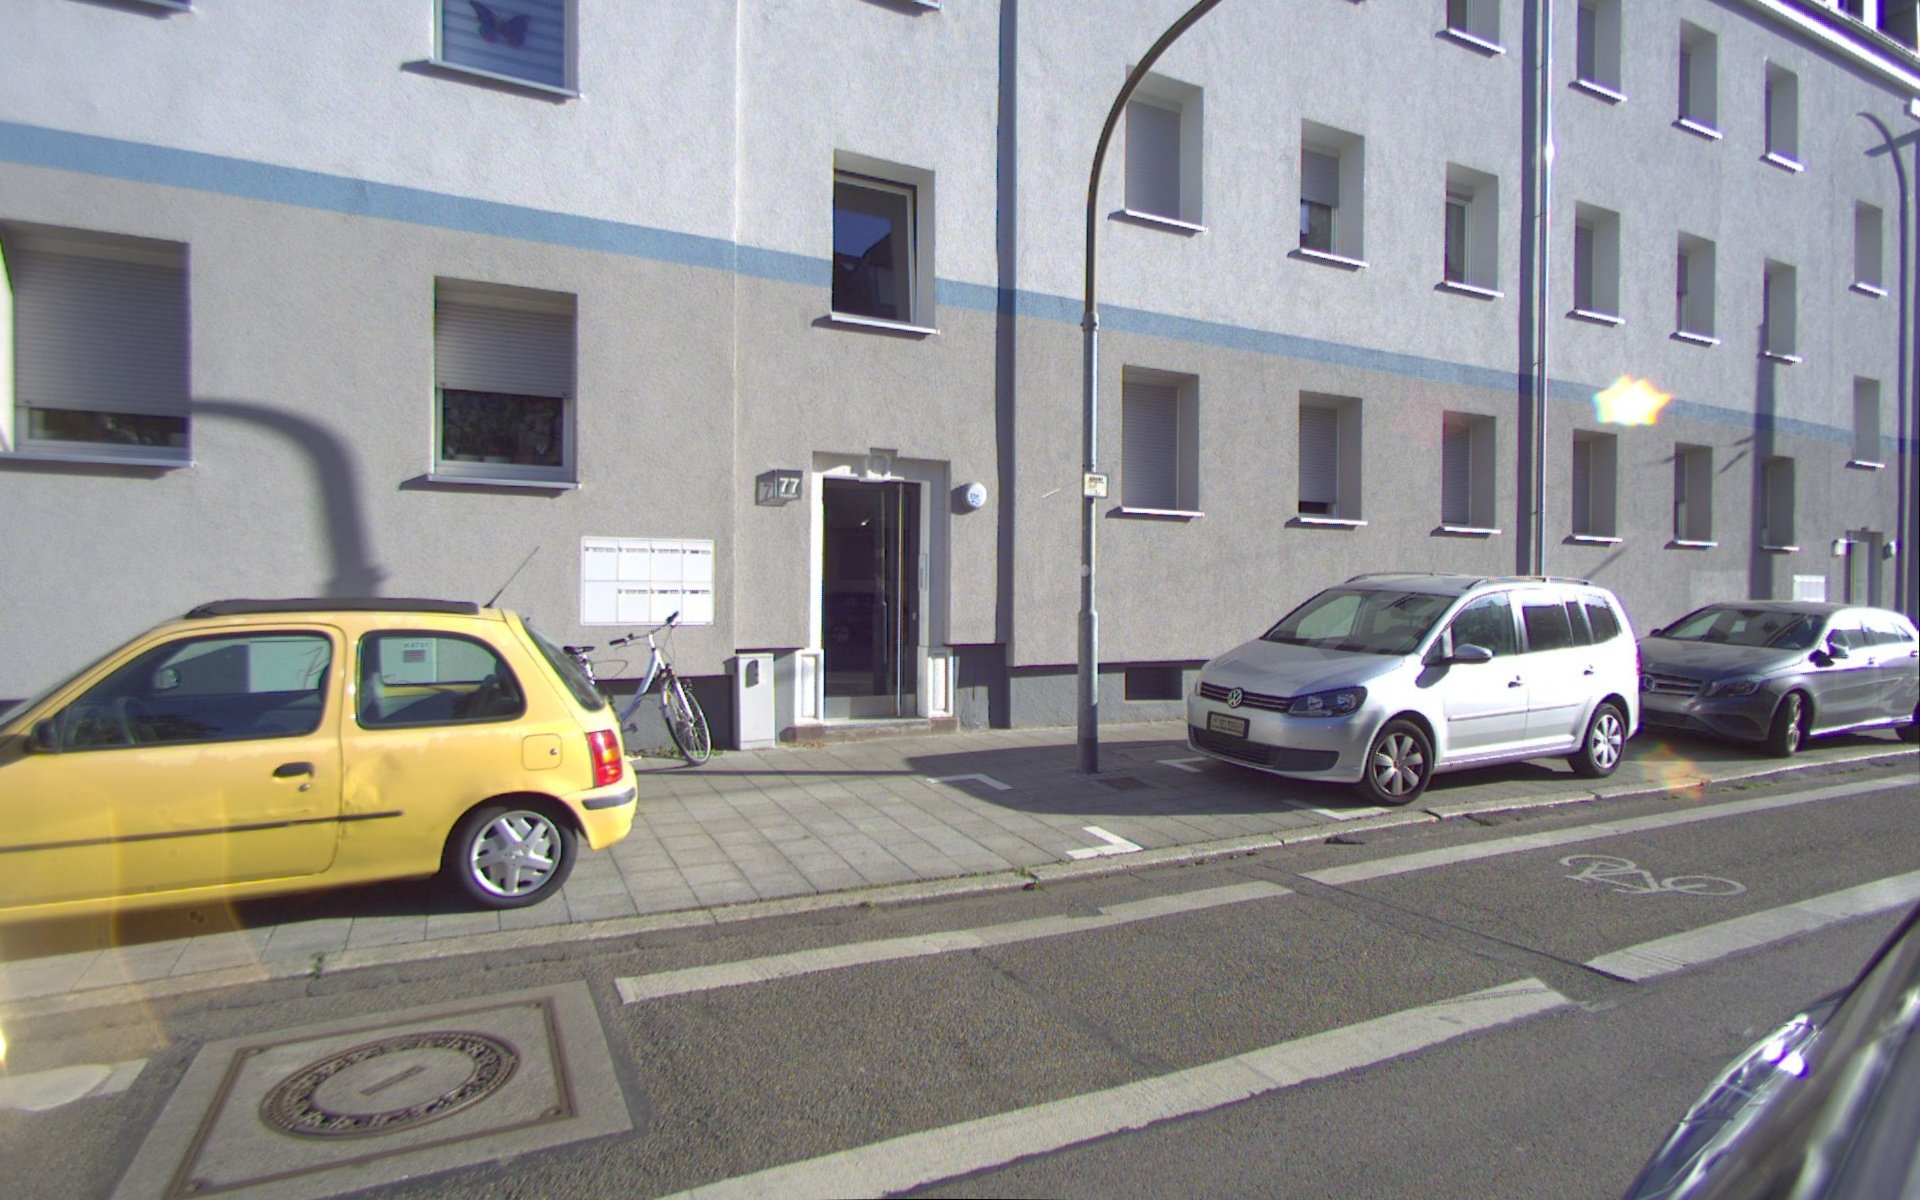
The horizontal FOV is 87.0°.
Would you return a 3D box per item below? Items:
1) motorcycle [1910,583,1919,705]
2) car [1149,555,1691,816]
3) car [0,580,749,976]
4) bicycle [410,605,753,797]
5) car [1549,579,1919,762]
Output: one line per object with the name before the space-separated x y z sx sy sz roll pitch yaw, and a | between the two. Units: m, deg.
motorcycle | 13.436 0.574 13.041 2.653 1.540 0.810 0 3 -26
car | 3.935 0.516 8.459 4.533 1.686 1.763 0 2 -30
car | -3.235 0.649 4.821 4.116 1.448 1.521 -1 2 -27
bicycle | -2.830 0.664 7.619 2.280 1.212 1.101 0 1 -28
car | 8.579 0.616 10.722 4.275 1.574 1.874 0 2 -24
